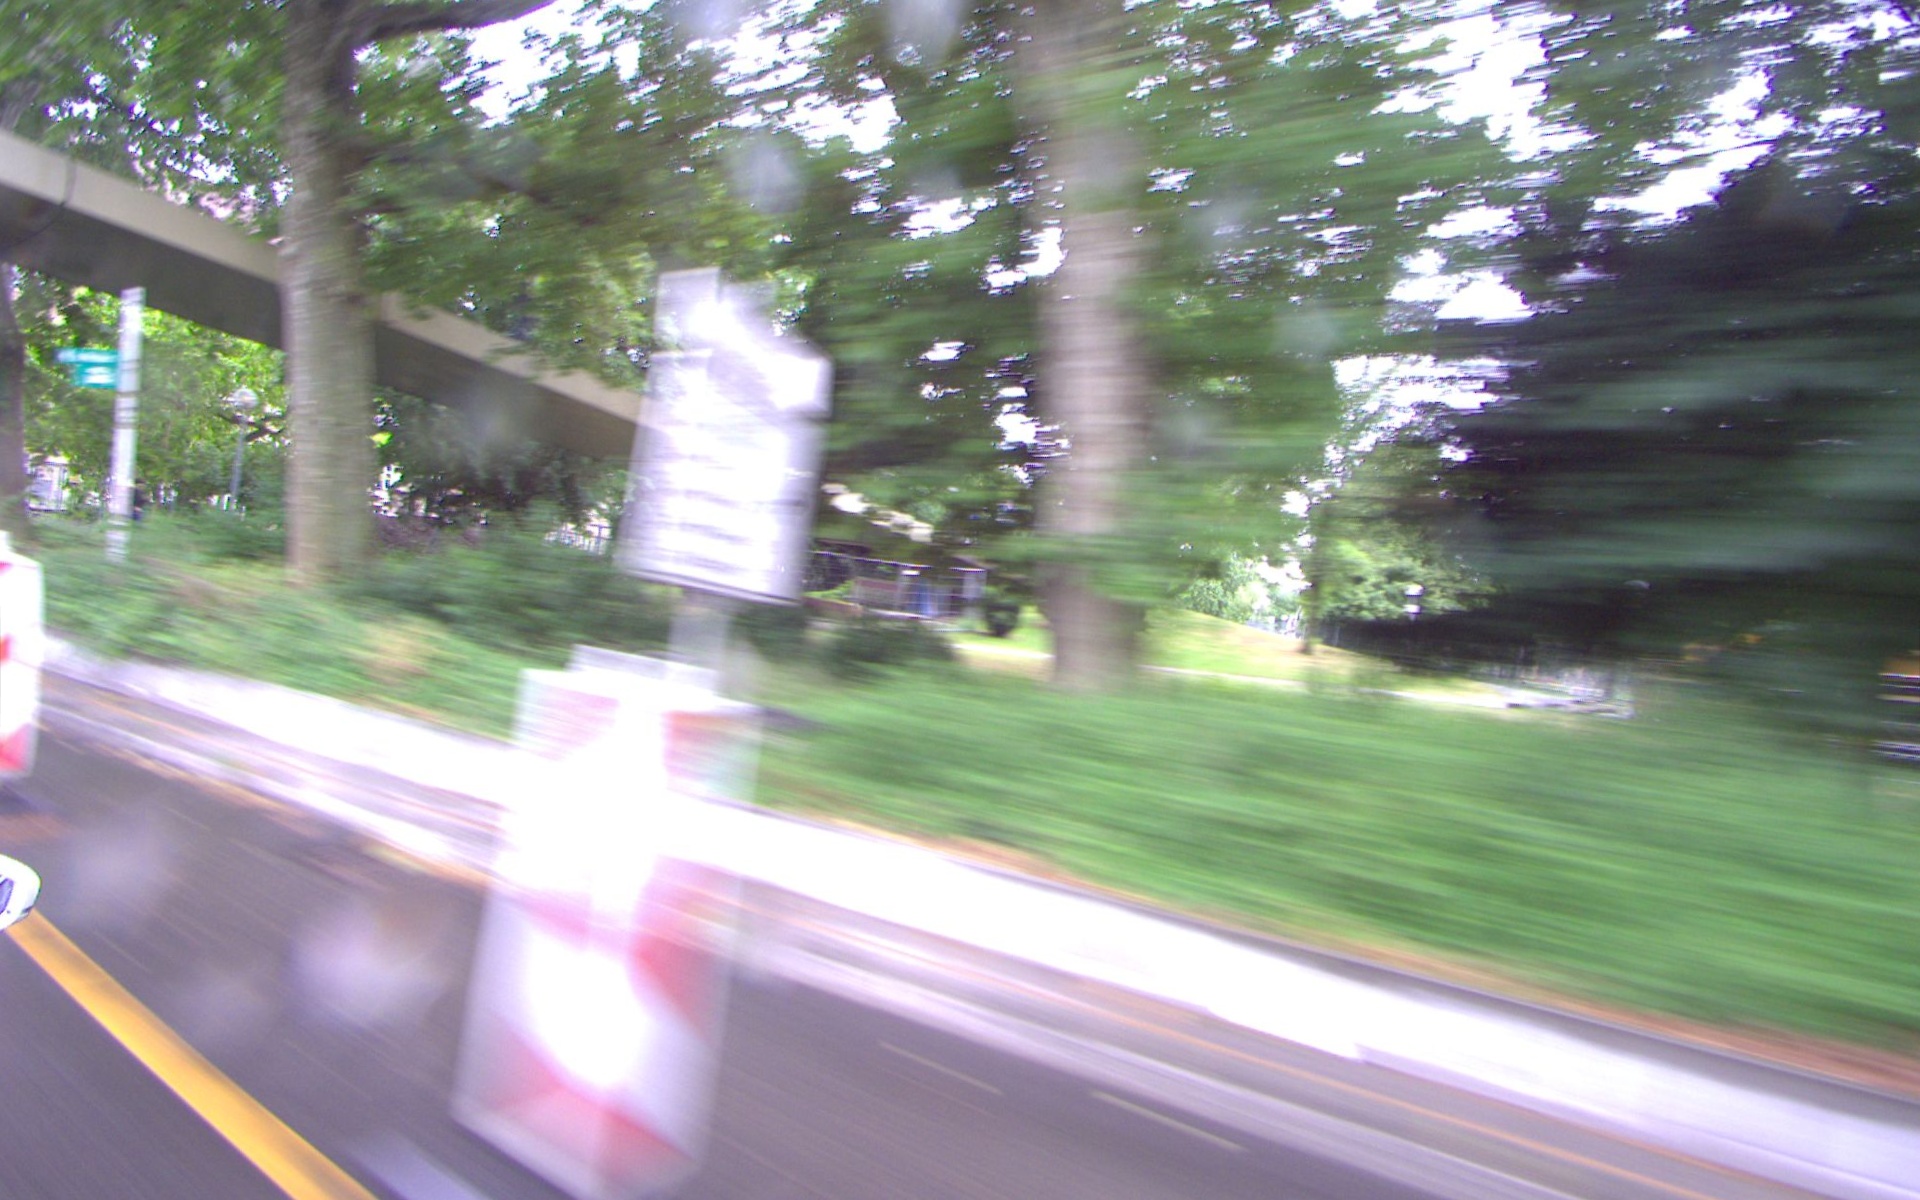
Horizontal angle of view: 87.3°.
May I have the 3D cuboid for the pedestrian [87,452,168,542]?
[{"bbox_3d":[-21.025,-2.582,25.435,1.021,2.039,1.050,7,1,-9],"label":"pedestrian"}]
